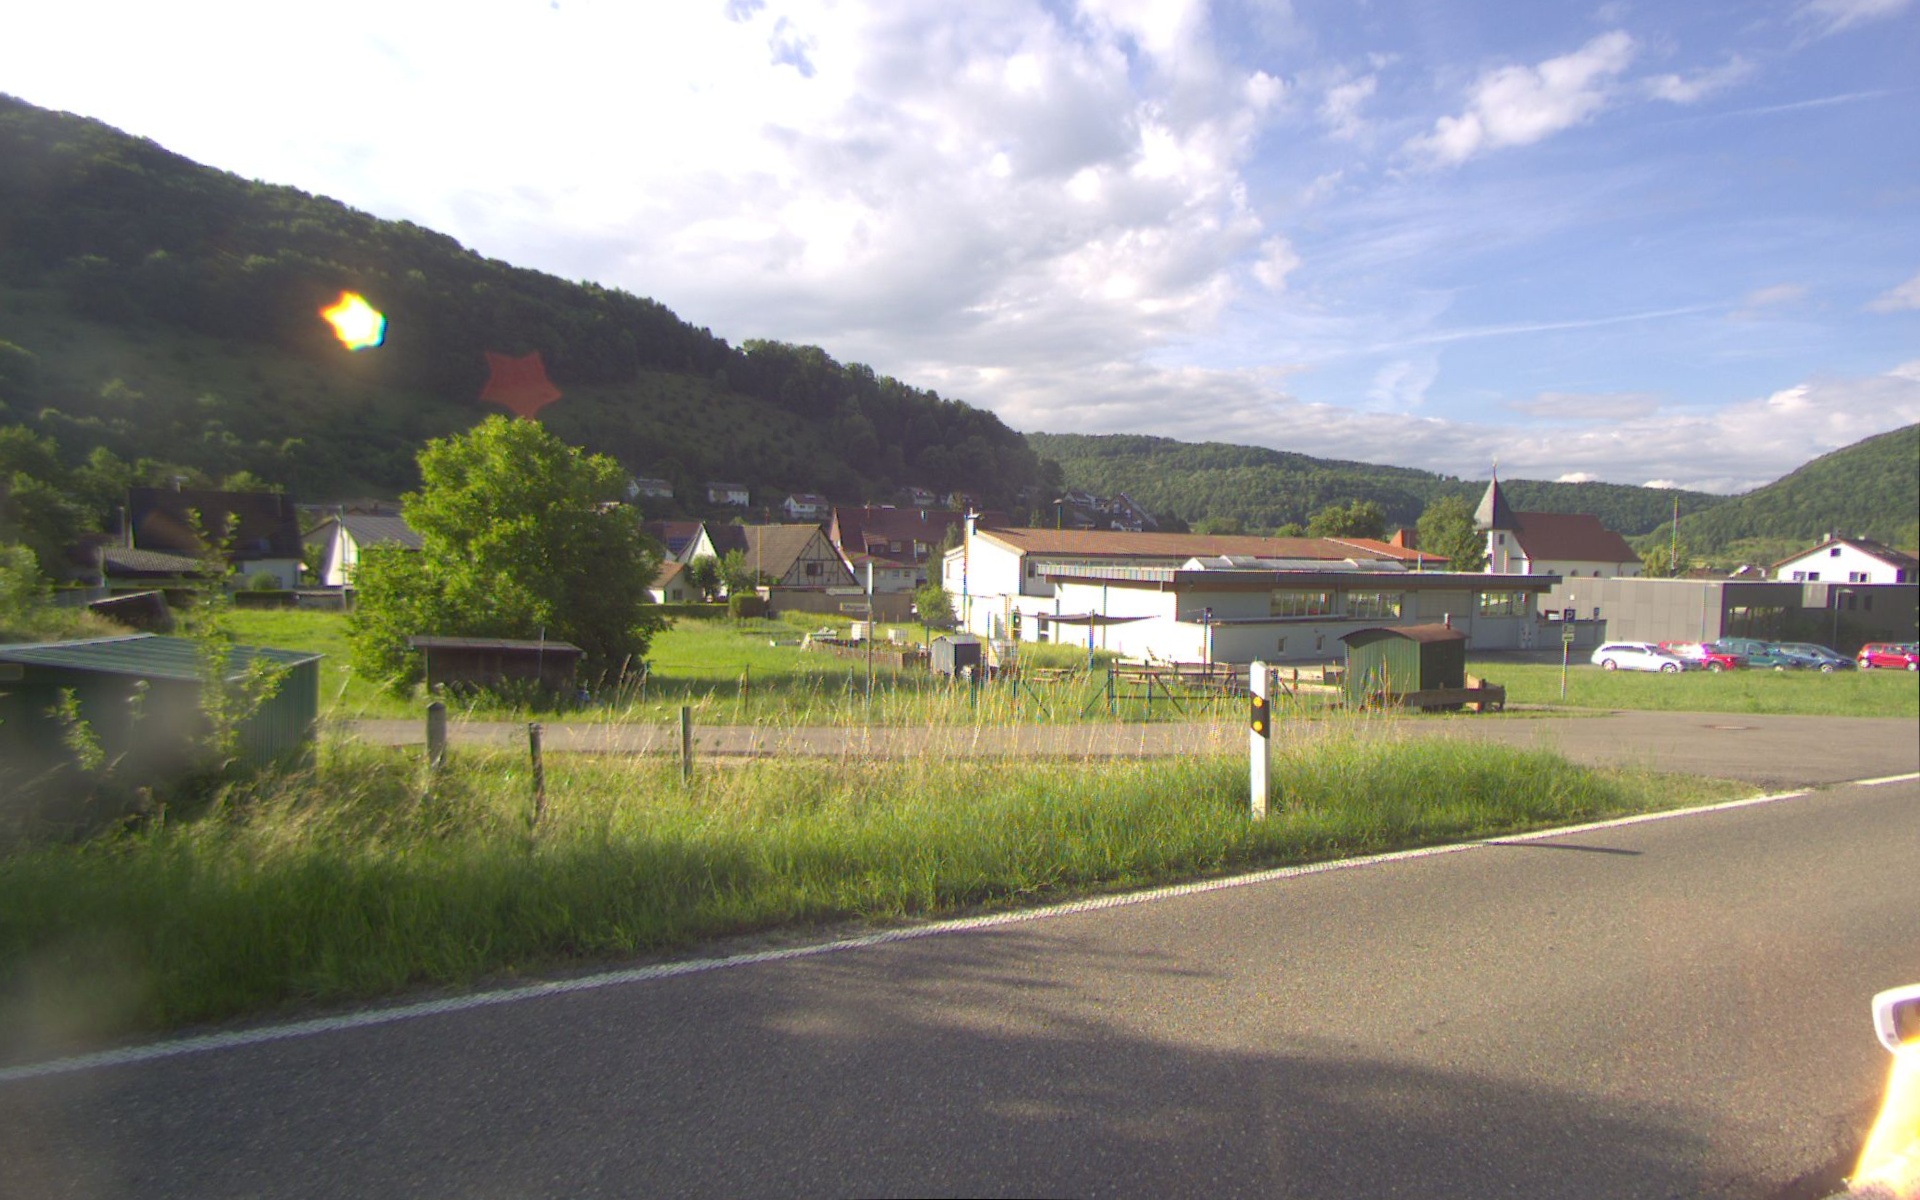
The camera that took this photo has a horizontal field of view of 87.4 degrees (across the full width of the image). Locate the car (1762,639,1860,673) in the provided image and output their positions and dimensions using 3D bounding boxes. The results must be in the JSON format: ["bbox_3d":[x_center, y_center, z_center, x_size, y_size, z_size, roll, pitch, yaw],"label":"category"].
[{"bbox_3d":[47.301,3.074,55.890,1.708,1.744,3.807,1,-1,-25],"label":"car"}]

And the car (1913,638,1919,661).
[{"bbox_3d":[63.510,3.227,64.031,1.575,1.513,3.657,3,-2,-24],"label":"car"}]

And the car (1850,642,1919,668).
[{"bbox_3d":[56.198,3.302,60.430,1.625,1.463,3.615,1,-1,-24],"label":"car"}]

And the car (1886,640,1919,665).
[{"bbox_3d":[60.606,3.330,62.849,1.575,1.423,3.615,4,-2,-24],"label":"car"}]

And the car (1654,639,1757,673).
[{"bbox_3d":[38.123,2.844,51.478,1.732,1.600,3.908,1,-1,-25],"label":"car"}]

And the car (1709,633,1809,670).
[{"bbox_3d":[42.979,2.737,54.086,1.733,1.745,3.847,1,0,-27],"label":"car"}]

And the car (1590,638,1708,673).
[{"bbox_3d":[35.046,2.787,51.217,1.973,1.610,4.627,1,-1,-25],"label":"car"}]
